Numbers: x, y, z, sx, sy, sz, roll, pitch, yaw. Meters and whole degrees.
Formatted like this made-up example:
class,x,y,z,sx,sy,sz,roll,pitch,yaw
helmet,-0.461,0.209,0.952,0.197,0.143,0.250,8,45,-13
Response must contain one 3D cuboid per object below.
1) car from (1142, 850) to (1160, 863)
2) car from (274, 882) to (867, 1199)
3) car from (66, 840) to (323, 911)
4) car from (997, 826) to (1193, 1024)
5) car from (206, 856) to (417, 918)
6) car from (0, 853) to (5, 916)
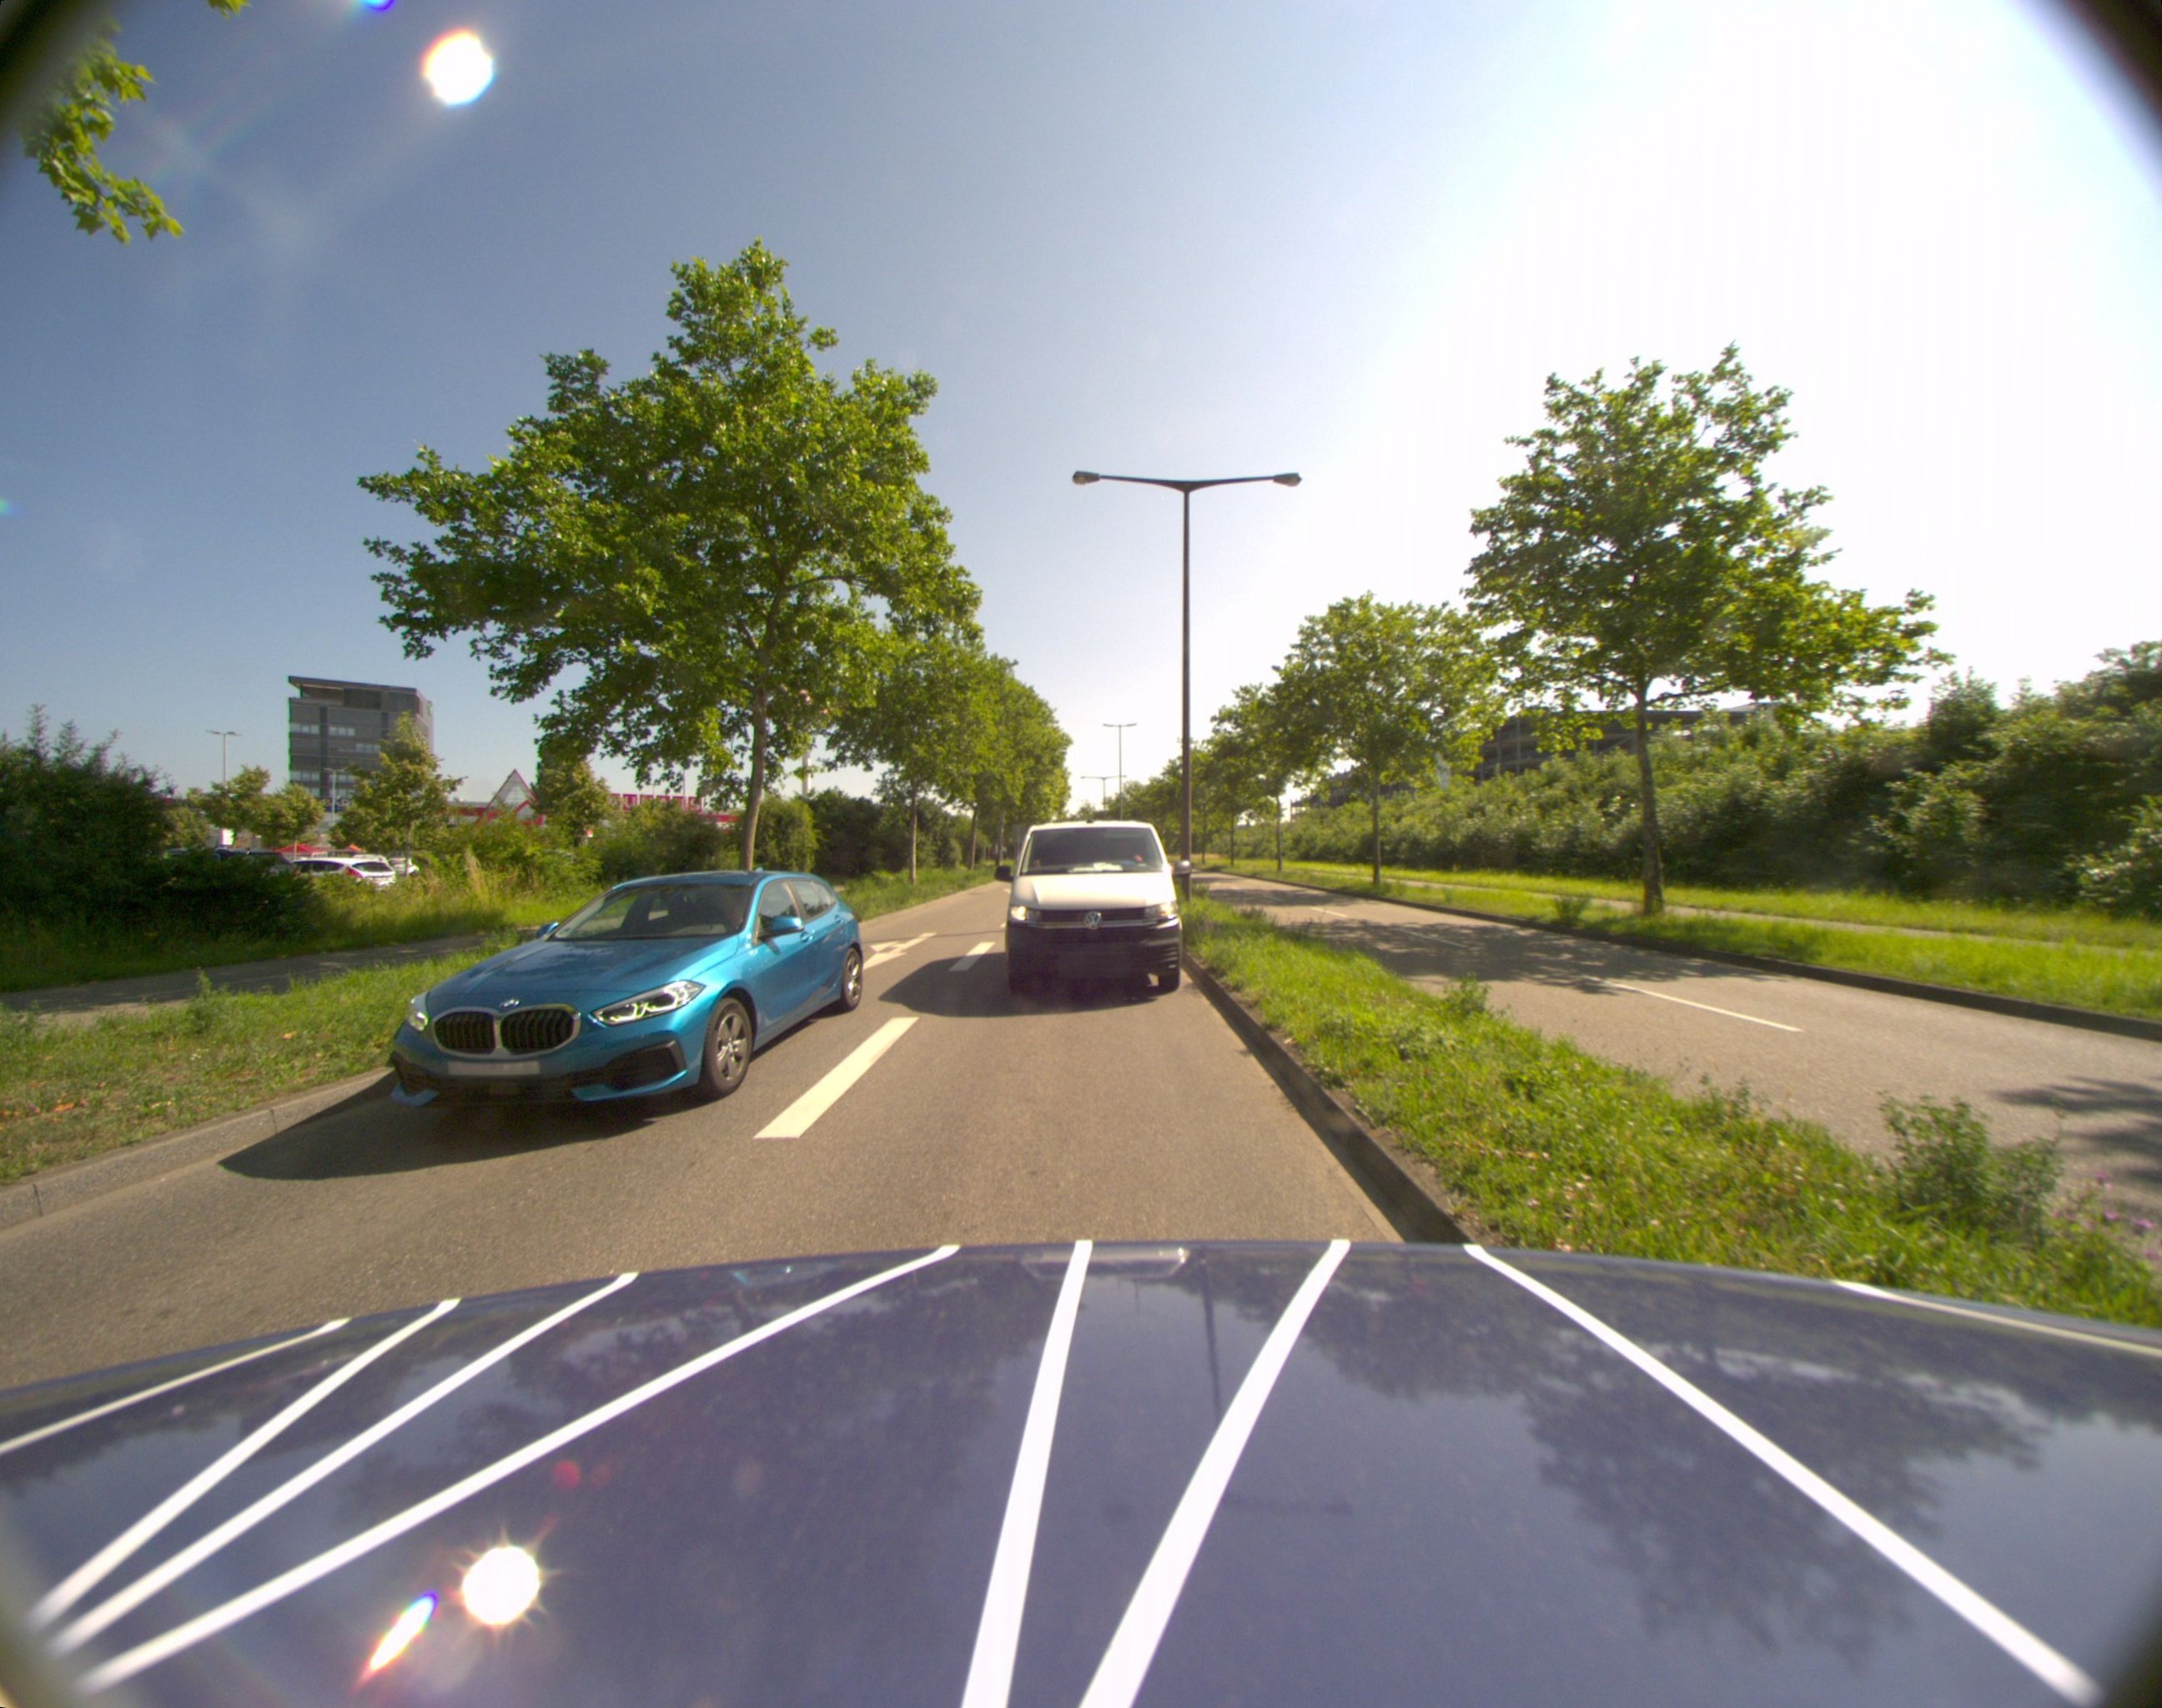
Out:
class,x,y,z,sx,sy,sz,roll,pitch,yaw
car,8.394,0.273,91.367,1.704,1.499,3.999,0,0,-3
car,-3.166,1.024,5.932,1.872,1.412,4.129,0,1,-1
car,-22.540,0.511,19.477,4.083,1.582,1.880,-2,1,-4
car,0.105,0.663,9.733,1.872,1.889,4.880,0,1,-1
car,-22.599,0.925,22.471,4.083,1.582,1.880,-2,1,-4
car,-23.276,0.684,14.440,3.526,1.240,1.613,-2,1,4
